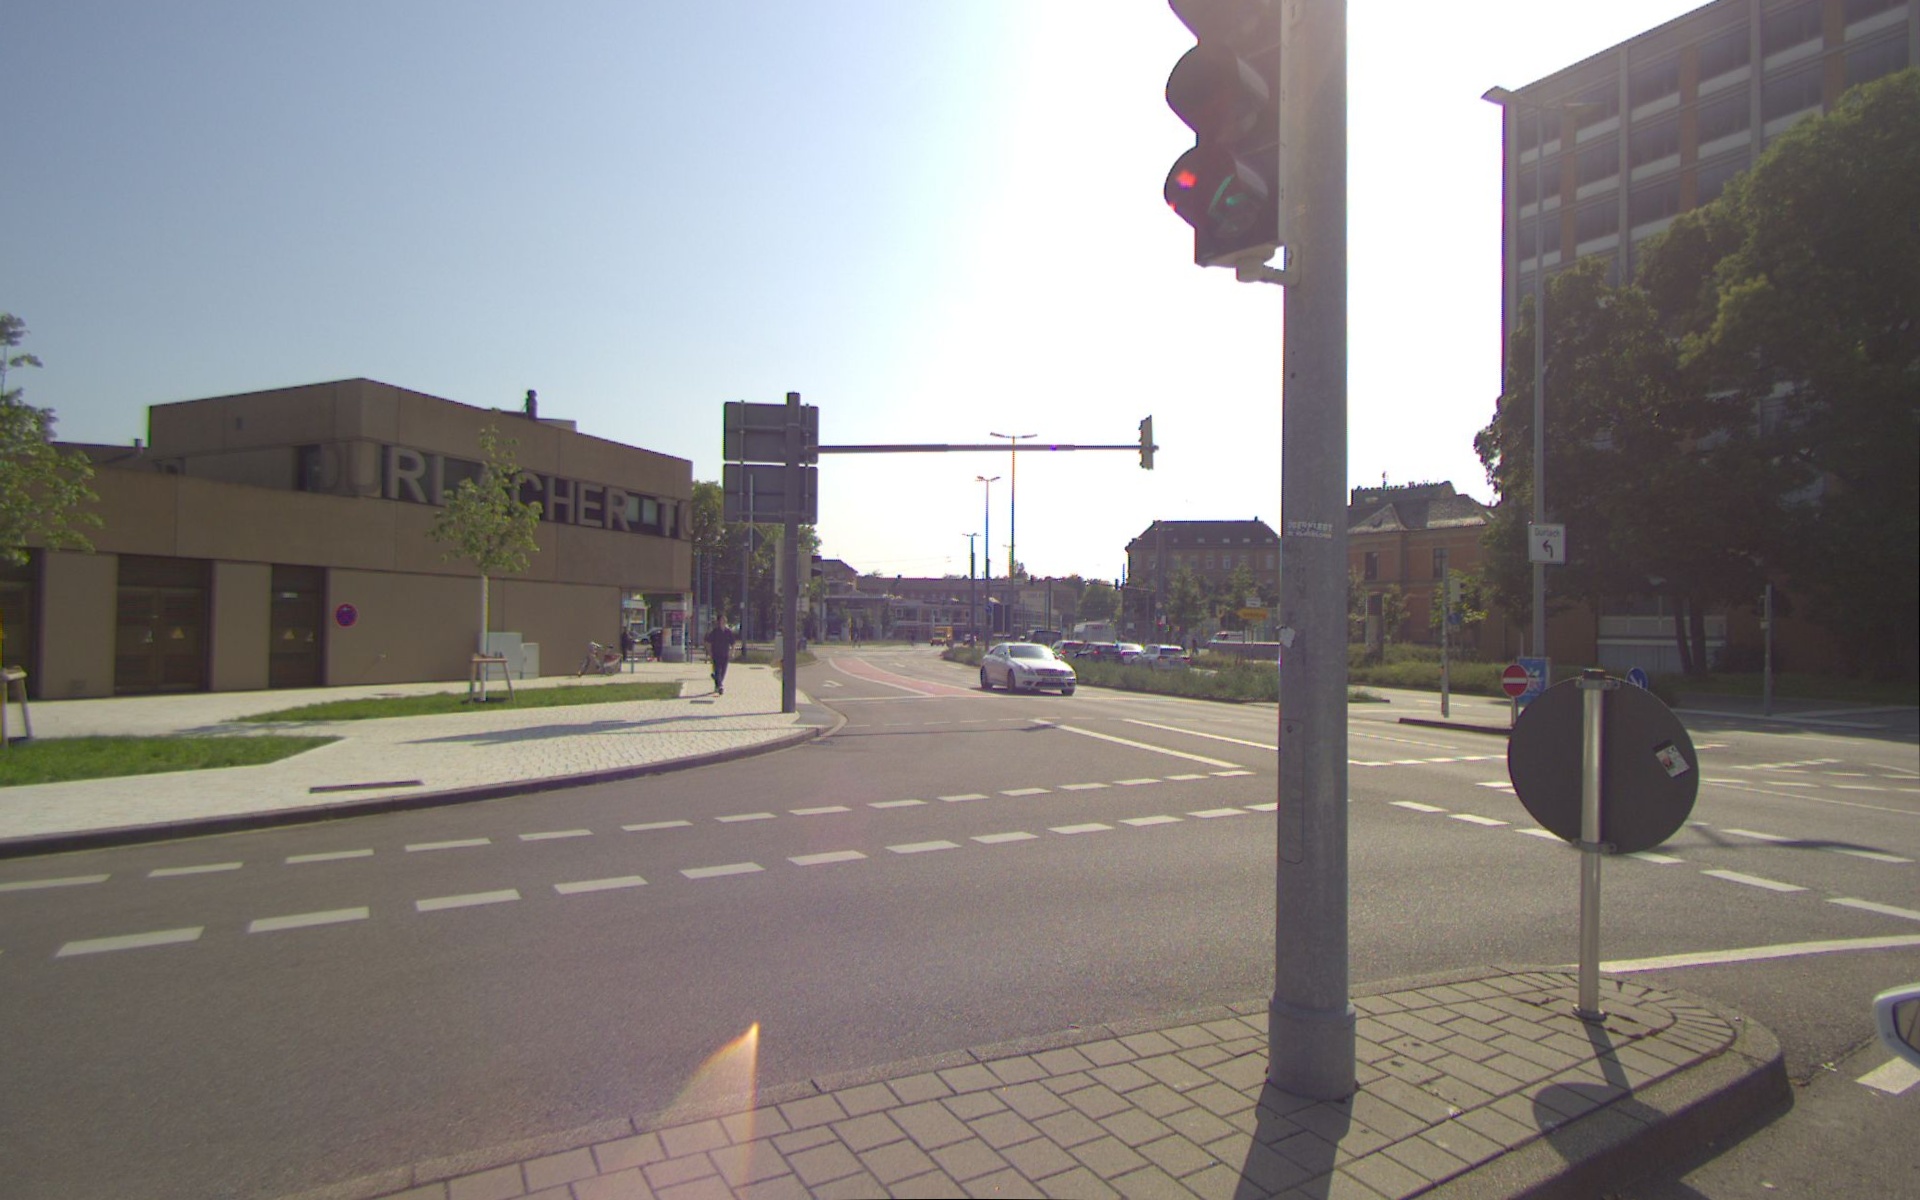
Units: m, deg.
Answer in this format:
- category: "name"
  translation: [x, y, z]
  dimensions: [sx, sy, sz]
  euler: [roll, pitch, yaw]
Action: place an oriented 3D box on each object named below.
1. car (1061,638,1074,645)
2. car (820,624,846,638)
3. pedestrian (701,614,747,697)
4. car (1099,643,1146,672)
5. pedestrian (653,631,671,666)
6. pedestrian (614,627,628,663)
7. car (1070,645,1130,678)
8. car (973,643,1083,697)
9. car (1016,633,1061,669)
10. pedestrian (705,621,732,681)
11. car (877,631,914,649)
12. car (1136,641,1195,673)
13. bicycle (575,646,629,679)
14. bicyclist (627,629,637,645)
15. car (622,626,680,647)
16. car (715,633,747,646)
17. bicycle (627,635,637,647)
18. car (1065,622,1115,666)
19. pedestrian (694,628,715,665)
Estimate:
- category: "car"
  translation: [21.920, 8.439, 204.491]
  dimensions: [1.960, 1.461, 4.002]
  euler: [0, -2, 17]
- category: "car"
  translation: [-19.709, 4.767, 155.369]
  dimensions: [3.927, 2.040, 1.997]
  euler: [2, 0, -9]
- category: "pedestrian"
  translation: [-5.472, 1.265, 23.267]
  dimensions: [0.722, 1.864, 1.073]
  euler: [1, 0, -32]
- category: "car"
  translation: [8.589, 3.042, 53.324]
  dimensions: [1.466, 1.421, 3.939]
  euler: [2, -3, -6]
- category: "pedestrian"
  translation: [-15.940, 2.587, 53.703]
  dimensions: [0.862, 1.802, 0.845]
  euler: [2, 1, -17]
- category: "pedestrian"
  translation: [-15.459, 2.049, 45.825]
  dimensions: [0.489, 1.601, 0.507]
  euler: [2, 1, -5]
- category: "car"
  translation: [6.515, 2.847, 47.043]
  dimensions: [1.676, 1.386, 3.958]
  euler: [2, -2, -10]
- category: "car"
  translation: [1.862, 1.971, 29.193]
  dimensions: [1.816, 1.379, 4.806]
  euler: [1, -2, -14]
- category: "car"
  translation: [4.691, 3.053, 60.379]
  dimensions: [1.991, 2.034, 4.682]
  euler: [1, -3, -4]
- category: "pedestrian"
  translation: [-7.614, 1.589, 31.657]
  dimensions: [0.687, 1.857, 0.566]
  euler: [1, -2, -31]
- category: "car"
  translation: [-7.451, 4.637, 116.339]
  dimensions: [3.939, 2.040, 1.991]
  euler: [1, -2, -20]
- category: "car"
  translation: [9.543, 2.634, 46.894]
  dimensions: [1.659, 1.405, 3.632]
  euler: [2, -3, -6]
- category: "bicycle"
  translation: [-11.246, 1.961, 31.623]
  dimensions: [0.648, 0.968, 1.612]
  euler: [2, -1, 23]
- category: "bicyclist"
  translation: [-29.485, 3.328, 90.233]
  dimensions: [0.718, 1.453, 0.686]
  euler: [2, -2, -24]
- category: "car"
  translation: [-31.419, 3.709, 102.080]
  dimensions: [5.478, 2.040, 1.991]
  euler: [2, -2, -21]
- category: "car"
  translation: [-30.170, 5.213, 132.210]
  dimensions: [3.934, 1.639, 1.807]
  euler: [1, -2, -16]
- category: "bicycle"
  translation: [-29.441, 3.688, 90.112]
  dimensions: [0.720, 0.997, 1.722]
  euler: [2, -2, -24]
- category: "car"
  translation: [8.007, 2.758, 62.272]
  dimensions: [2.154, 2.582, 4.682]
  euler: [1, -3, -4]
- category: "pedestrian"
  translation: [-12.700, 2.311, 49.840]
  dimensions: [0.673, 1.783, 0.868]
  euler: [2, -2, -40]
